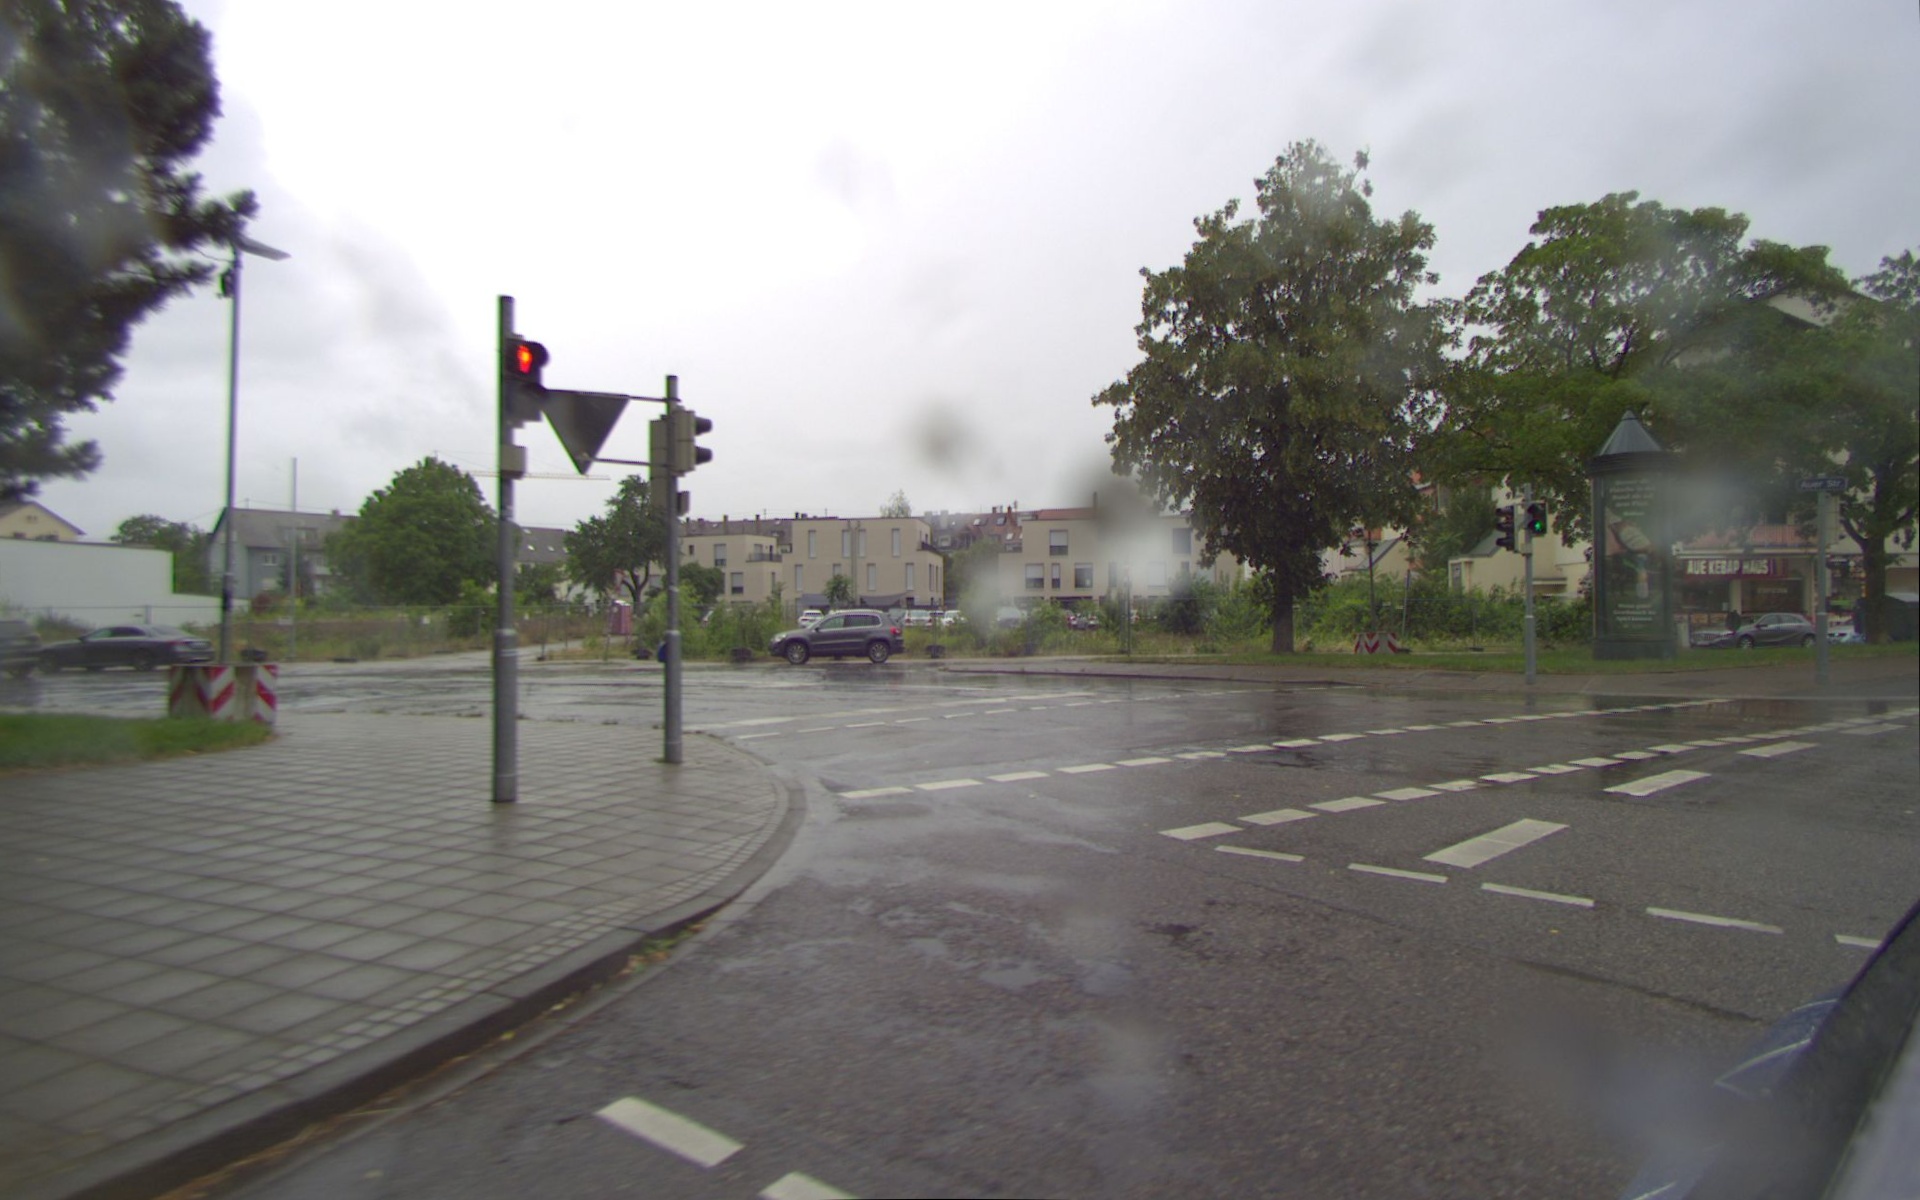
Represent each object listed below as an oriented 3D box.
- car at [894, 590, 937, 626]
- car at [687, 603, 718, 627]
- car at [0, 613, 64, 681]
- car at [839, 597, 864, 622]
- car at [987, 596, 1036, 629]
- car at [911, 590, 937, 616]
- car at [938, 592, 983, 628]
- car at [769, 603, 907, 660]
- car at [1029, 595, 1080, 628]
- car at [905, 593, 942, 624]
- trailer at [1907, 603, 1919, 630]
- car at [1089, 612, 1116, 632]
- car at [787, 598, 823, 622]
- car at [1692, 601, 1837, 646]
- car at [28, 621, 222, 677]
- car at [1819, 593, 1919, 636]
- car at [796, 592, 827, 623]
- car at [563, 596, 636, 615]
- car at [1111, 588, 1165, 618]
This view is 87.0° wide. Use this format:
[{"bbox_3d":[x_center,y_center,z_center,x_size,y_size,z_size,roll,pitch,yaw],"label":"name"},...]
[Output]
[{"bbox_3d":[-2.624,0.482,59.097,1.959,2.039,4.005,-1,-1,-10],"label":"car"},{"bbox_3d":[-21.469,1.220,84.518,1.640,1.938,3.999,-1,-1,-1],"label":"car"},{"bbox_3d":[-27.200,1.295,27.353,4.223,1.766,1.999,-1,-1,0],"label":"car"},{"bbox_3d":[-8.892,0.813,83.320,1.640,1.938,3.999,-1,-1,-1],"label":"car"},{"bbox_3d":[3.002,0.753,59.929,1.959,1.884,4.006,-1,-1,-10],"label":"car"},{"bbox_3d":[-2.924,0.251,82.659,1.962,2.039,3.999,-1,-1,0],"label":"car"},{"bbox_3d":[0.001,0.605,59.945,1.959,2.039,4.005,-1,-1,-10],"label":"car"},{"bbox_3d":[-3.859,0.985,32.192,4.218,1.676,1.861,-1,-1,-5],"label":"car"},{"bbox_3d":[5.577,0.707,60.153,1.959,1.884,4.006,-1,-1,-10],"label":"car"},{"bbox_3d":[-2.564,0.600,69.994,1.959,2.039,4.005,-1,-1,-10],"label":"car"},{"bbox_3d":[45.623,0.721,45.765,1.794,1.247,4.522,-1,-1,8],"label":"trailer"},{"bbox_3d":[10.127,1.536,72.190,1.736,1.360,4.085,-1,-1,5],"label":"car"},{"bbox_3d":[-12.801,0.803,84.022,1.966,1.902,3.992,-1,-1,7],"label":"car"},{"bbox_3d":[28.285,0.810,35.617,4.071,1.452,1.706,-1,-1,-11],"label":"car"},{"bbox_3d":[-25.874,1.493,31.475,4.444,1.569,1.980,-1,-1,0],"label":"car"},{"bbox_3d":[33.338,0.492,36.275,4.090,1.452,1.642,-1,-1,-11],"label":"car"},{"bbox_3d":[-10.174,0.514,69.132,1.959,2.039,4.005,-1,-1,-10],"label":"car"},{"bbox_3d":[-24.118,0.365,67.749,4.327,1.150,1.764,-1,-1,9],"label":"car"},{"bbox_3d":[10.550,0.208,60.316,1.870,1.705,4.005,-1,-1,-10],"label":"car"}]
